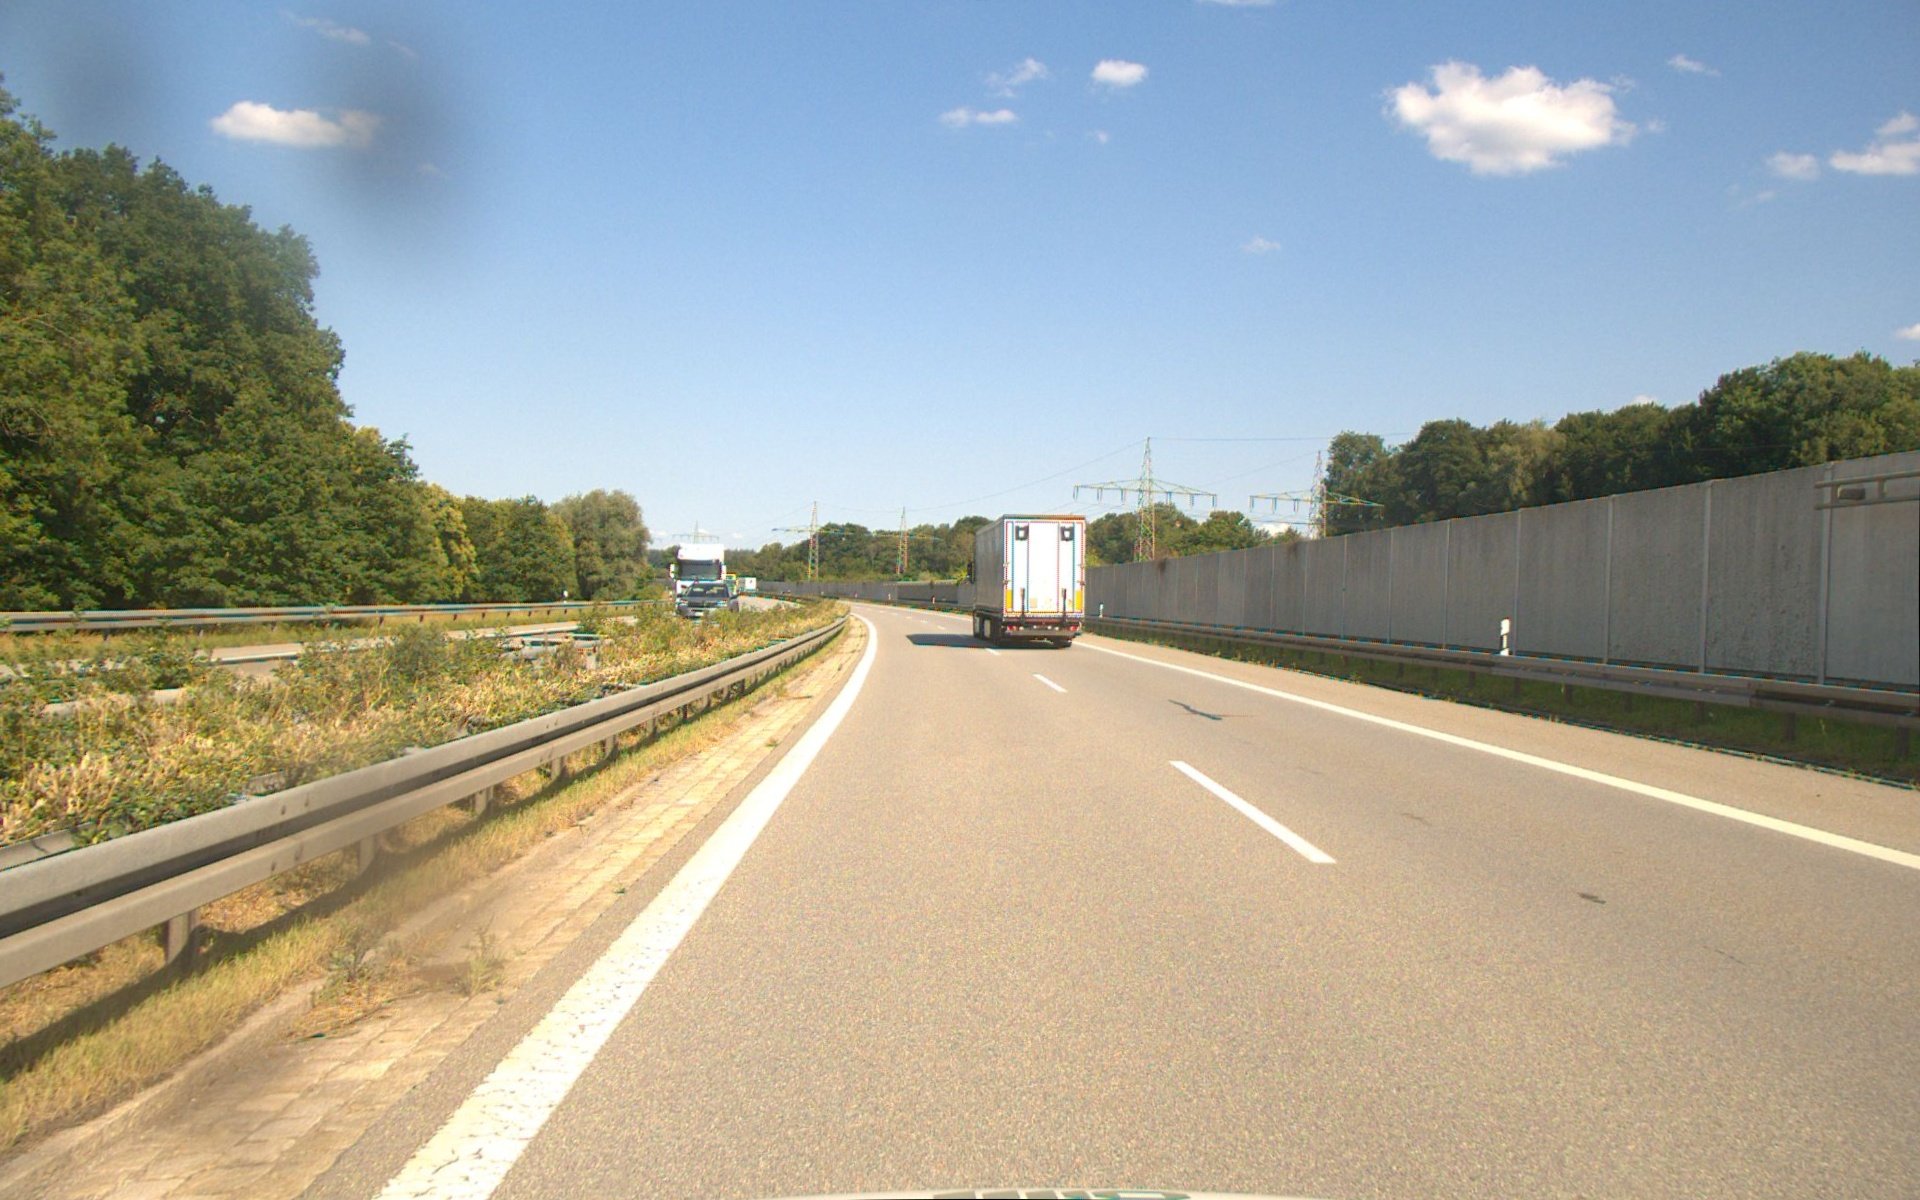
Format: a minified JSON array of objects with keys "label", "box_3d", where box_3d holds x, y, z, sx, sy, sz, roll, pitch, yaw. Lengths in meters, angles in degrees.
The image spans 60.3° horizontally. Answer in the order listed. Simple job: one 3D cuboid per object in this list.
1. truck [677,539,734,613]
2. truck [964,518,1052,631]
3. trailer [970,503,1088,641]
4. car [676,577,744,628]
[{"label":"truck","box_3d":[-14.053,-1.259,91.685,2.573,3.907,6.803,1,0,-5]},{"label":"truck","box_3d":[1.747,-0.916,63.474,2.774,4.082,6.582,1,0,-3]},{"label":"trailer","box_3d":[2.119,-0.814,56.206,2.827,4.137,12.412,1,0,-3]},{"label":"car","box_3d":[-8.453,0.089,56.240,1.805,1.634,3.999,1,0,-2]}]
